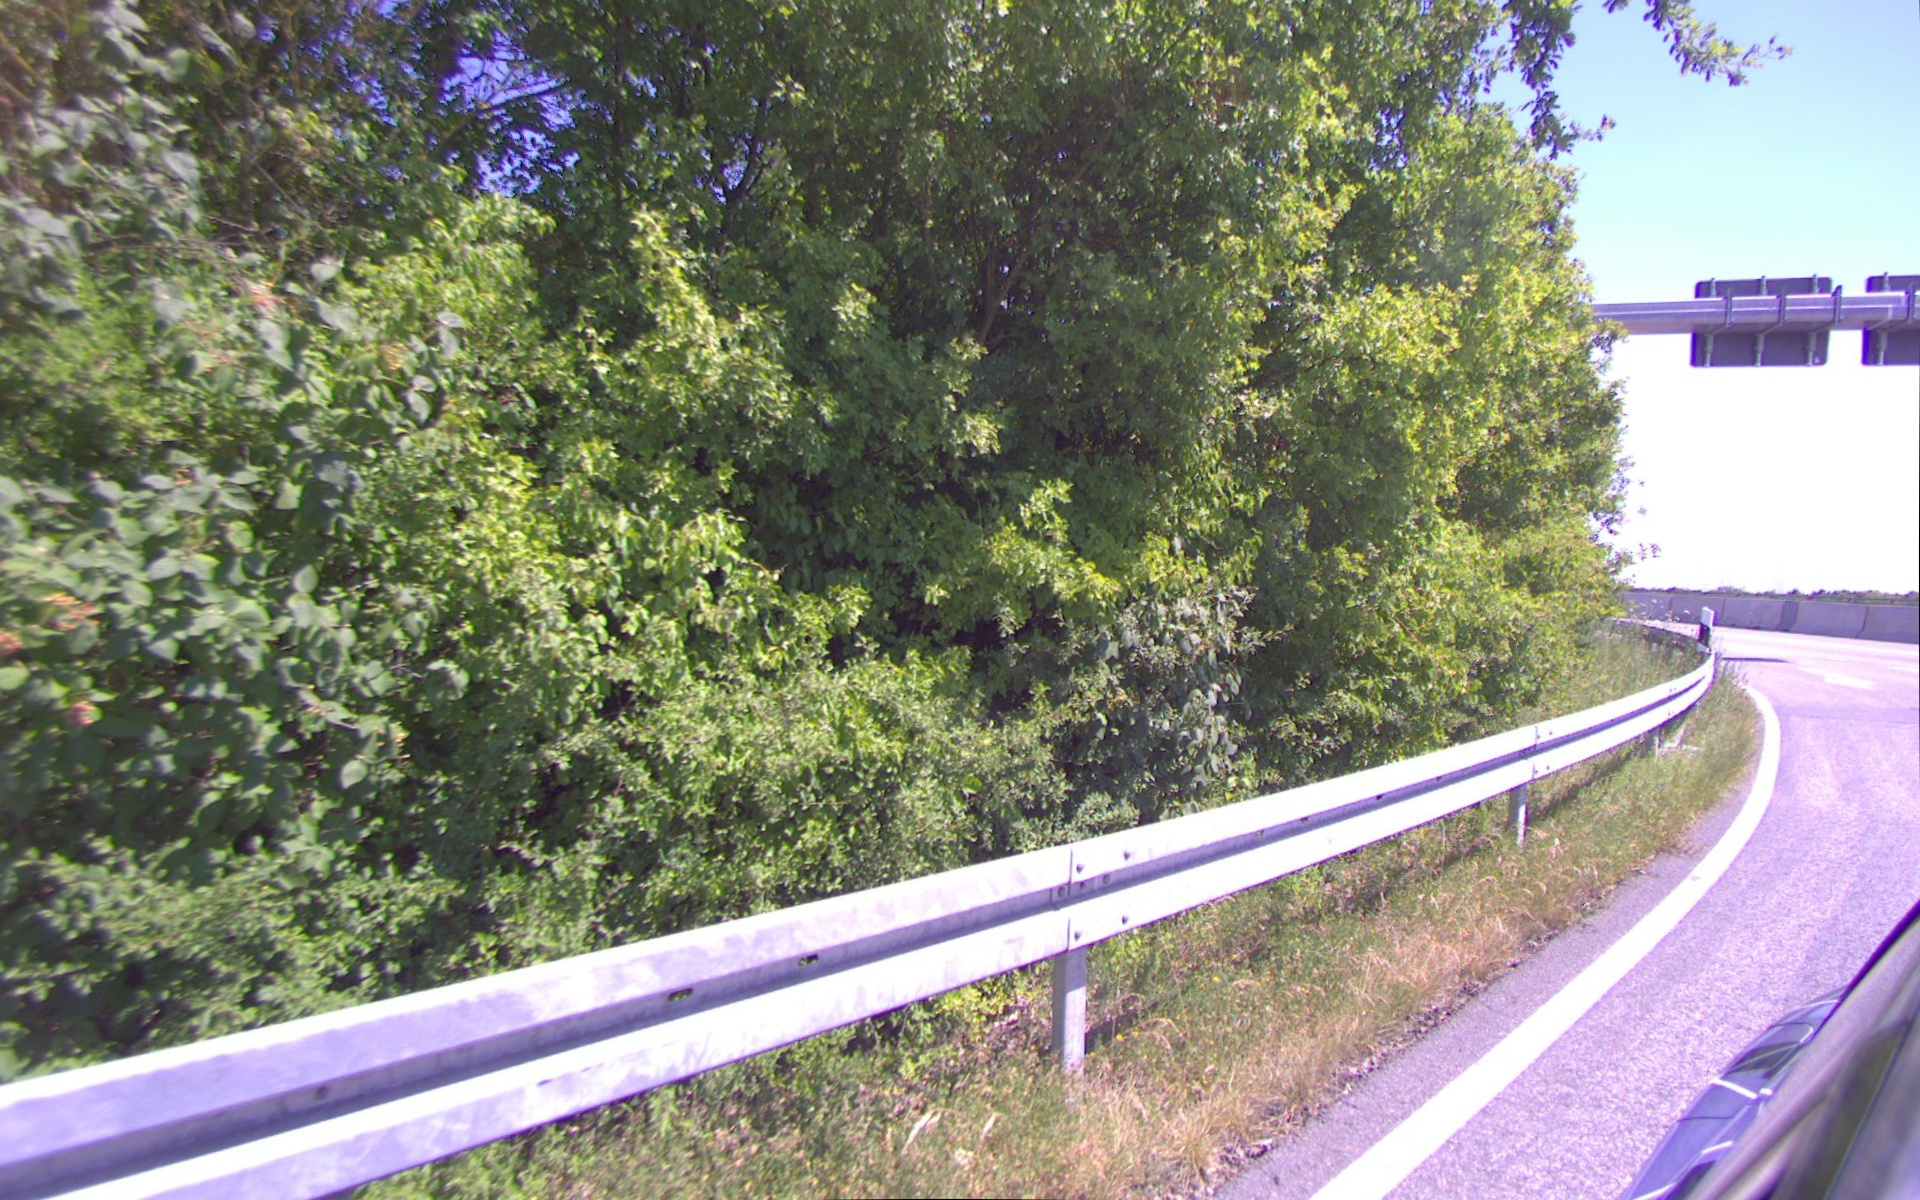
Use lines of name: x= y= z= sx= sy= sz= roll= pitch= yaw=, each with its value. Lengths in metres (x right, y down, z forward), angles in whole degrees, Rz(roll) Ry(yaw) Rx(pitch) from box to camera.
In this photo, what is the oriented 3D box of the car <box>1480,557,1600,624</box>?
car: x=21.517 y=-0.446 z=37.890 sx=1.999 sy=2.109 sz=5.859 roll=1 pitch=4 yaw=10
